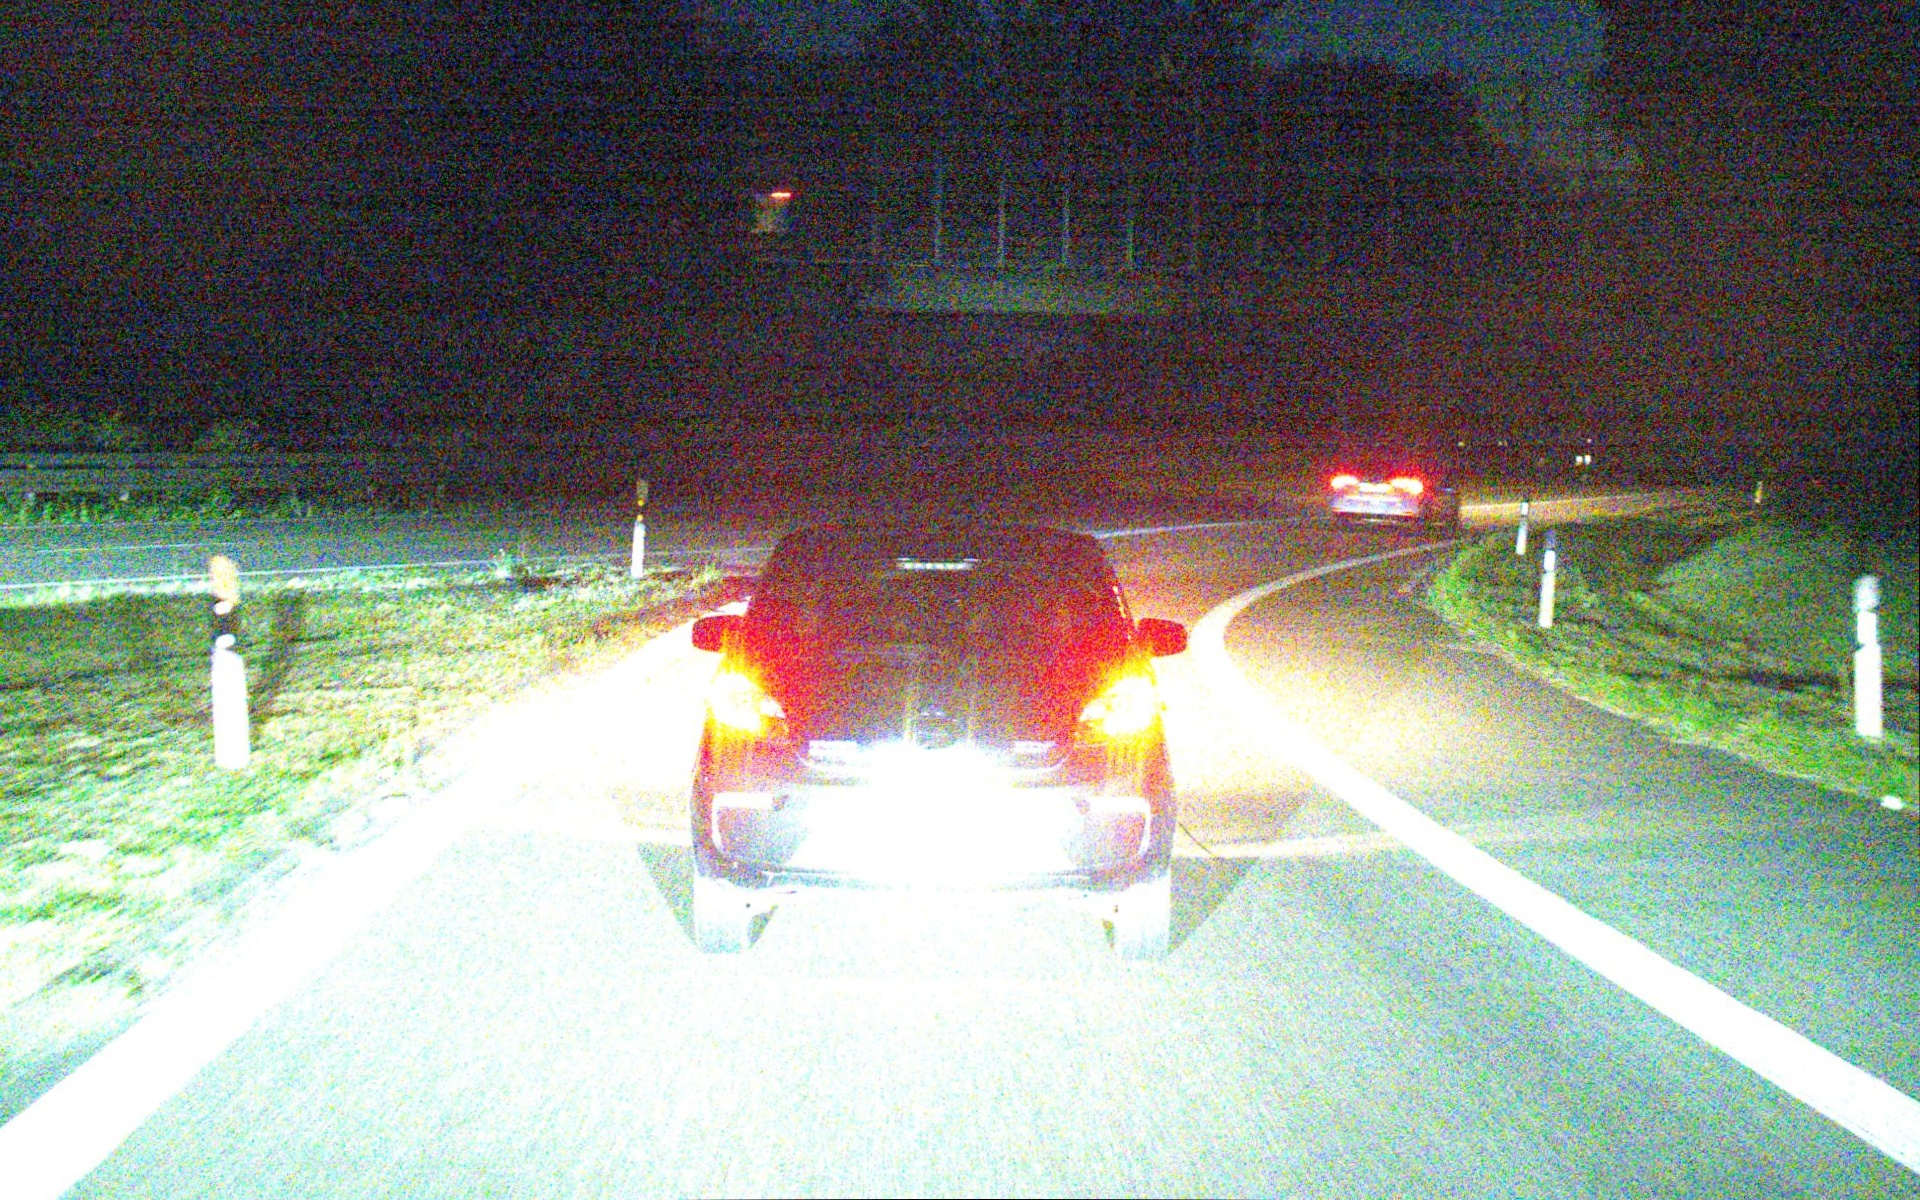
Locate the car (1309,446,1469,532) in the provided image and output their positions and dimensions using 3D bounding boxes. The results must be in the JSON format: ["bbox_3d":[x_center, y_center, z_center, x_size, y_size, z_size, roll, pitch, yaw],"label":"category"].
[{"bbox_3d":[8.142,-2.078,64.913,1.953,1.532,4.236,-1,1,22],"label":"car"}]

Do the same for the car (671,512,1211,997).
[{"bbox_3d":[-0.019,0.438,12.856,1.691,1.472,4.000,1,2,1],"label":"car"}]
